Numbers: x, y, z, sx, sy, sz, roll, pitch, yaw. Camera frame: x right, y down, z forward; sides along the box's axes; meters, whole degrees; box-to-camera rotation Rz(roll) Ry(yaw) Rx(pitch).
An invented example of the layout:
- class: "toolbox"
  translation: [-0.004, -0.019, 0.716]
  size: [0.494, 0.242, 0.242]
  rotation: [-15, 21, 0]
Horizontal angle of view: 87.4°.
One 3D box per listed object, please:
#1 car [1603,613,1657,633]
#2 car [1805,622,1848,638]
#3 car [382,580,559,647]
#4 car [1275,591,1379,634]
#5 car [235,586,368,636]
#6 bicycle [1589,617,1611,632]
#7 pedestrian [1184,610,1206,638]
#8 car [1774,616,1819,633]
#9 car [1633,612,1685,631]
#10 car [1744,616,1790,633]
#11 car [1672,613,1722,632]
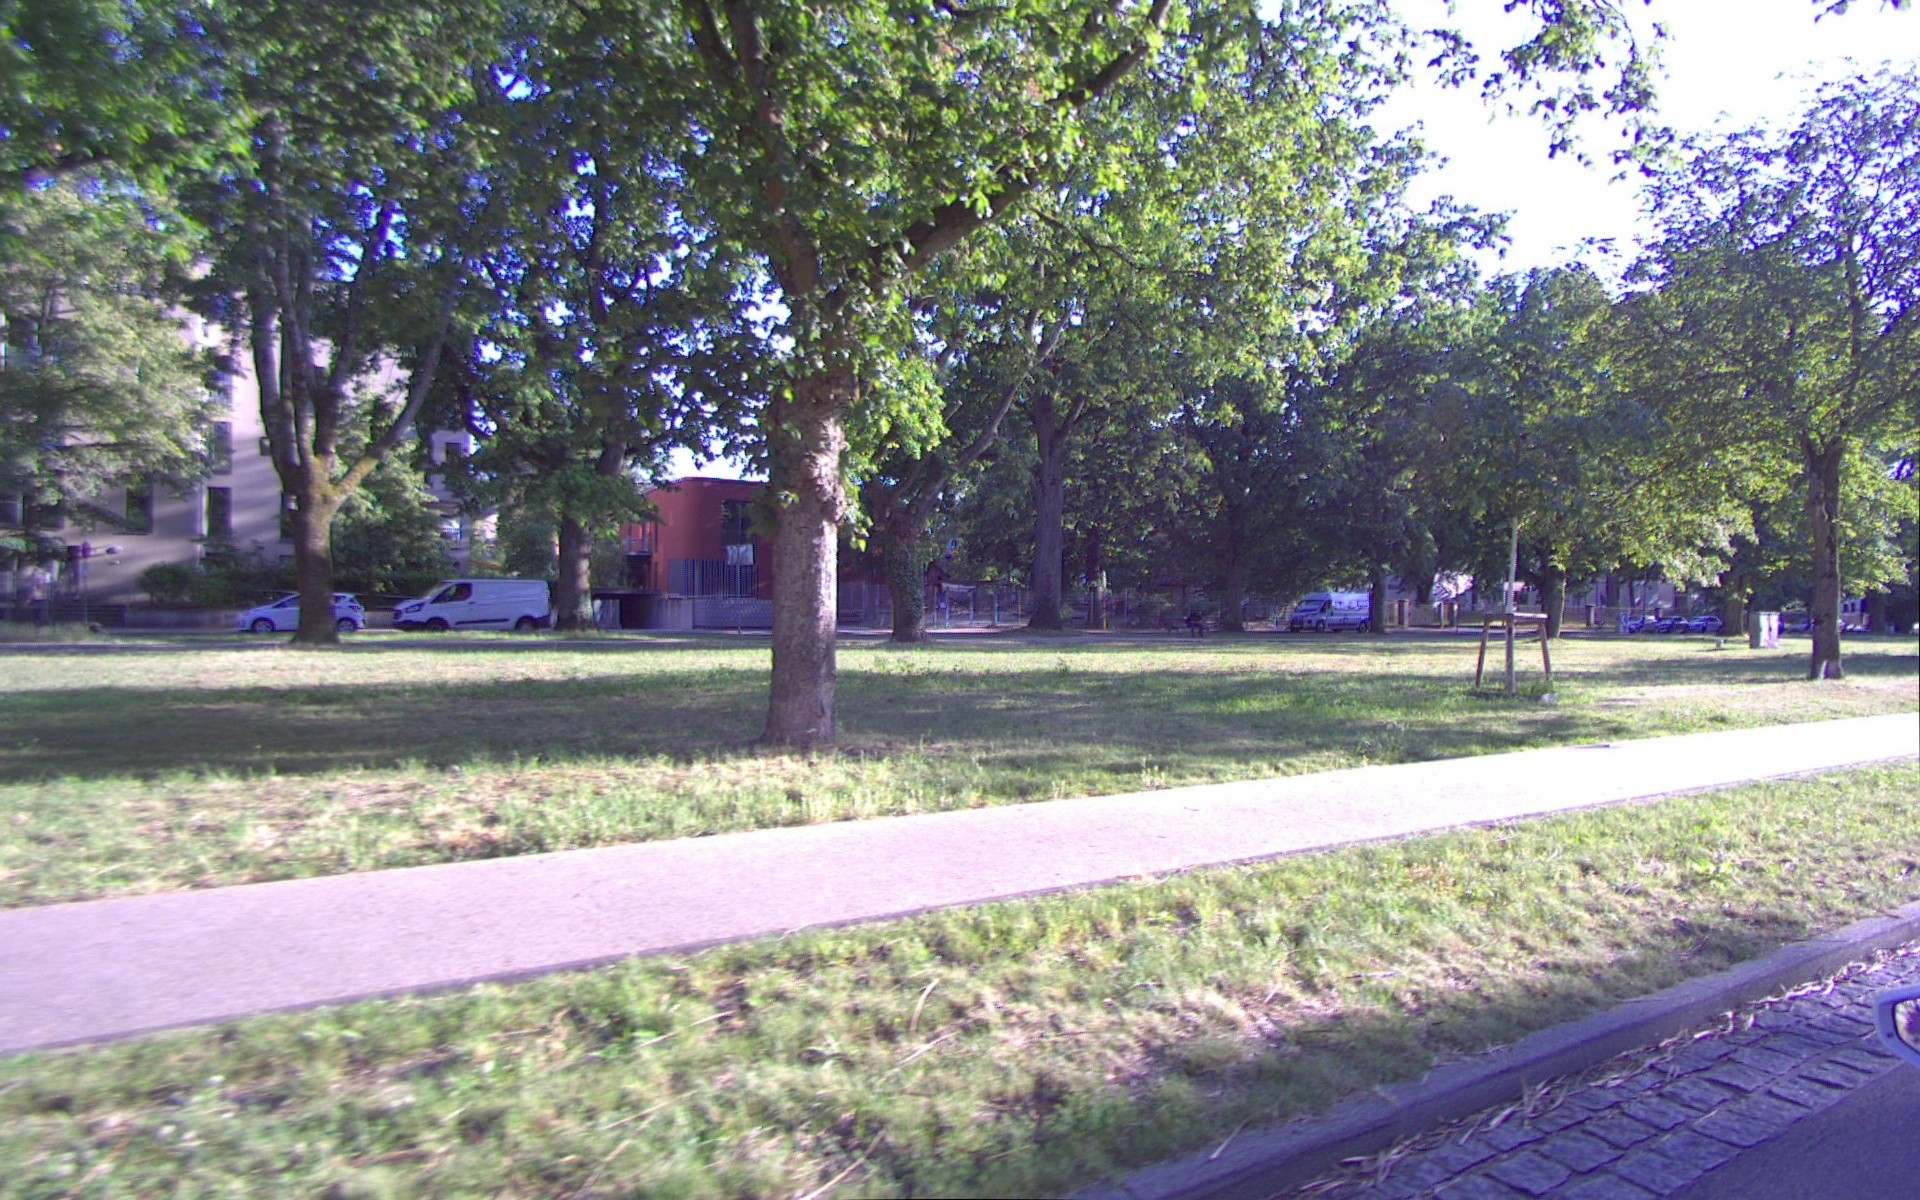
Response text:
- class: "car"
  translation: [53.205, 1.817, 79.750]
  size: [3.952, 1.528, 1.985]
  rotation: [1, -1, -30]
- class: "car"
  translation: [85.312, 2.946, 98.866]
  size: [4.066, 1.528, 1.985]
  rotation: [1, -1, -30]
- class: "car"
  translation: [-16.928, 0.452, 34.860]
  size: [2.642, 2.142, 4.937]
  rotation: [1, 0, 45]
- class: "car"
  translation: [22.573, 0.782, 61.678]
  size: [6.247, 2.496, 2.706]
  rotation: [1, -1, -32]
- class: "car"
  translation: [-22.654, 0.375, 34.756]
  size: [3.694, 1.639, 1.984]
  rotation: [1, 0, -30]
- class: "bicycle"
  translation: [51.496, 1.969, 80.818]
  size: [2.309, 1.191, 0.653]
  rotation: [2, -1, -33]
- class: "pedestrian"
  translation: [8.636, 0.891, 36.895]
  size: [0.601, 1.000, 0.547]
  rotation: [1, -1, -19]
- class: "car"
  translation: [79.775, 2.313, 95.802]
  size: [4.066, 1.528, 1.985]
  rotation: [1, -1, -30]
- class: "car"
  translation: [57.115, 1.753, 82.077]
  size: [3.952, 1.528, 1.985]
  rotation: [1, -1, -30]
- class: "car"
  translation: [73.314, 2.221, 91.243]
  size: [4.066, 1.528, 1.985]
  rotation: [1, -1, -30]
- class: "car"
  translation: [62.419, 1.877, 85.054]
  size: [4.066, 1.528, 1.985]
  rotation: [1, -1, -30]
